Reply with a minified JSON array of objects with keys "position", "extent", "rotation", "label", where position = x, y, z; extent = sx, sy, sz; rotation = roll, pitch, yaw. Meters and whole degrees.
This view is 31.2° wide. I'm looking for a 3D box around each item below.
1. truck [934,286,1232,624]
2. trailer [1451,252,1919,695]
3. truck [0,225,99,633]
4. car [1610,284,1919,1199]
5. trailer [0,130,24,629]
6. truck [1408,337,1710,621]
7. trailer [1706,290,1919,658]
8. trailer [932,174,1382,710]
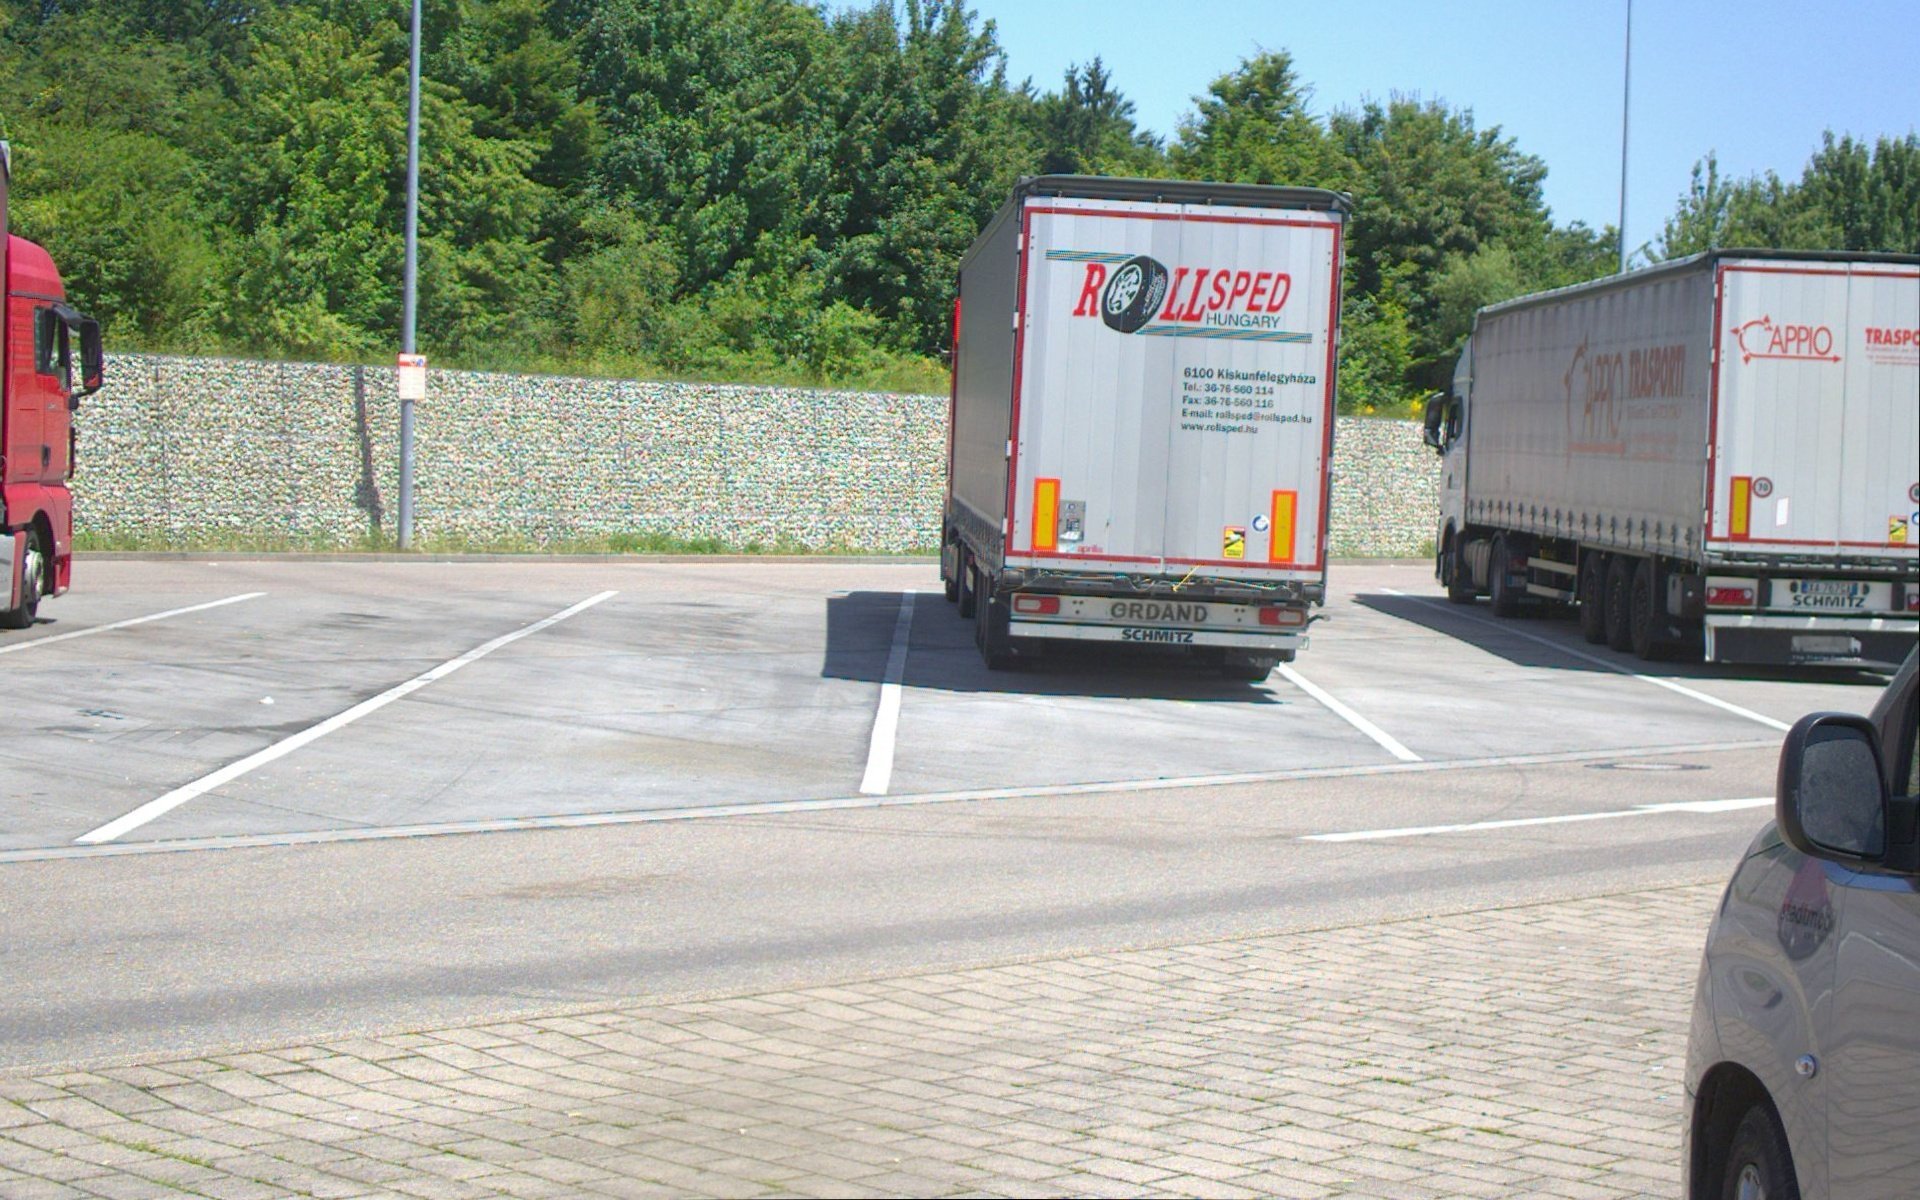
[{"position":[1.318,-1.736,40.497],"extent":[3.103,3.554,5.900],"rotation":[2,3,-1],"label":"truck"},{"position":[8.121,-1.523,38.716],"extent":[2.811,3.976,14.396],"rotation":[2,3,-1],"label":"trailer"},{"position":[-9.233,-1.444,28.130],"extent":[2.851,3.316,5.900],"rotation":[2,3,-1],"label":"truck"},{"position":[2.152,0.586,3.836],"extent":[1.869,1.857,4.177],"rotation":[2,2,-2],"label":"car"},{"position":[-9.190,-1.488,21.556],"extent":[2.791,4.071,14.133],"rotation":[2,3,-1],"label":"trailer"},{"position":[8.029,-1.700,46.816],"extent":[2.862,3.509,5.900],"rotation":[2,3,-1],"label":"truck"},{"position":[11.762,-1.456,39.768],"extent":[2.811,3.976,14.396],"rotation":[2,3,-1],"label":"trailer"},{"position":[1.454,-1.594,33.605],"extent":[3.133,3.976,14.397],"rotation":[2,3,-1],"label":"trailer"}]
